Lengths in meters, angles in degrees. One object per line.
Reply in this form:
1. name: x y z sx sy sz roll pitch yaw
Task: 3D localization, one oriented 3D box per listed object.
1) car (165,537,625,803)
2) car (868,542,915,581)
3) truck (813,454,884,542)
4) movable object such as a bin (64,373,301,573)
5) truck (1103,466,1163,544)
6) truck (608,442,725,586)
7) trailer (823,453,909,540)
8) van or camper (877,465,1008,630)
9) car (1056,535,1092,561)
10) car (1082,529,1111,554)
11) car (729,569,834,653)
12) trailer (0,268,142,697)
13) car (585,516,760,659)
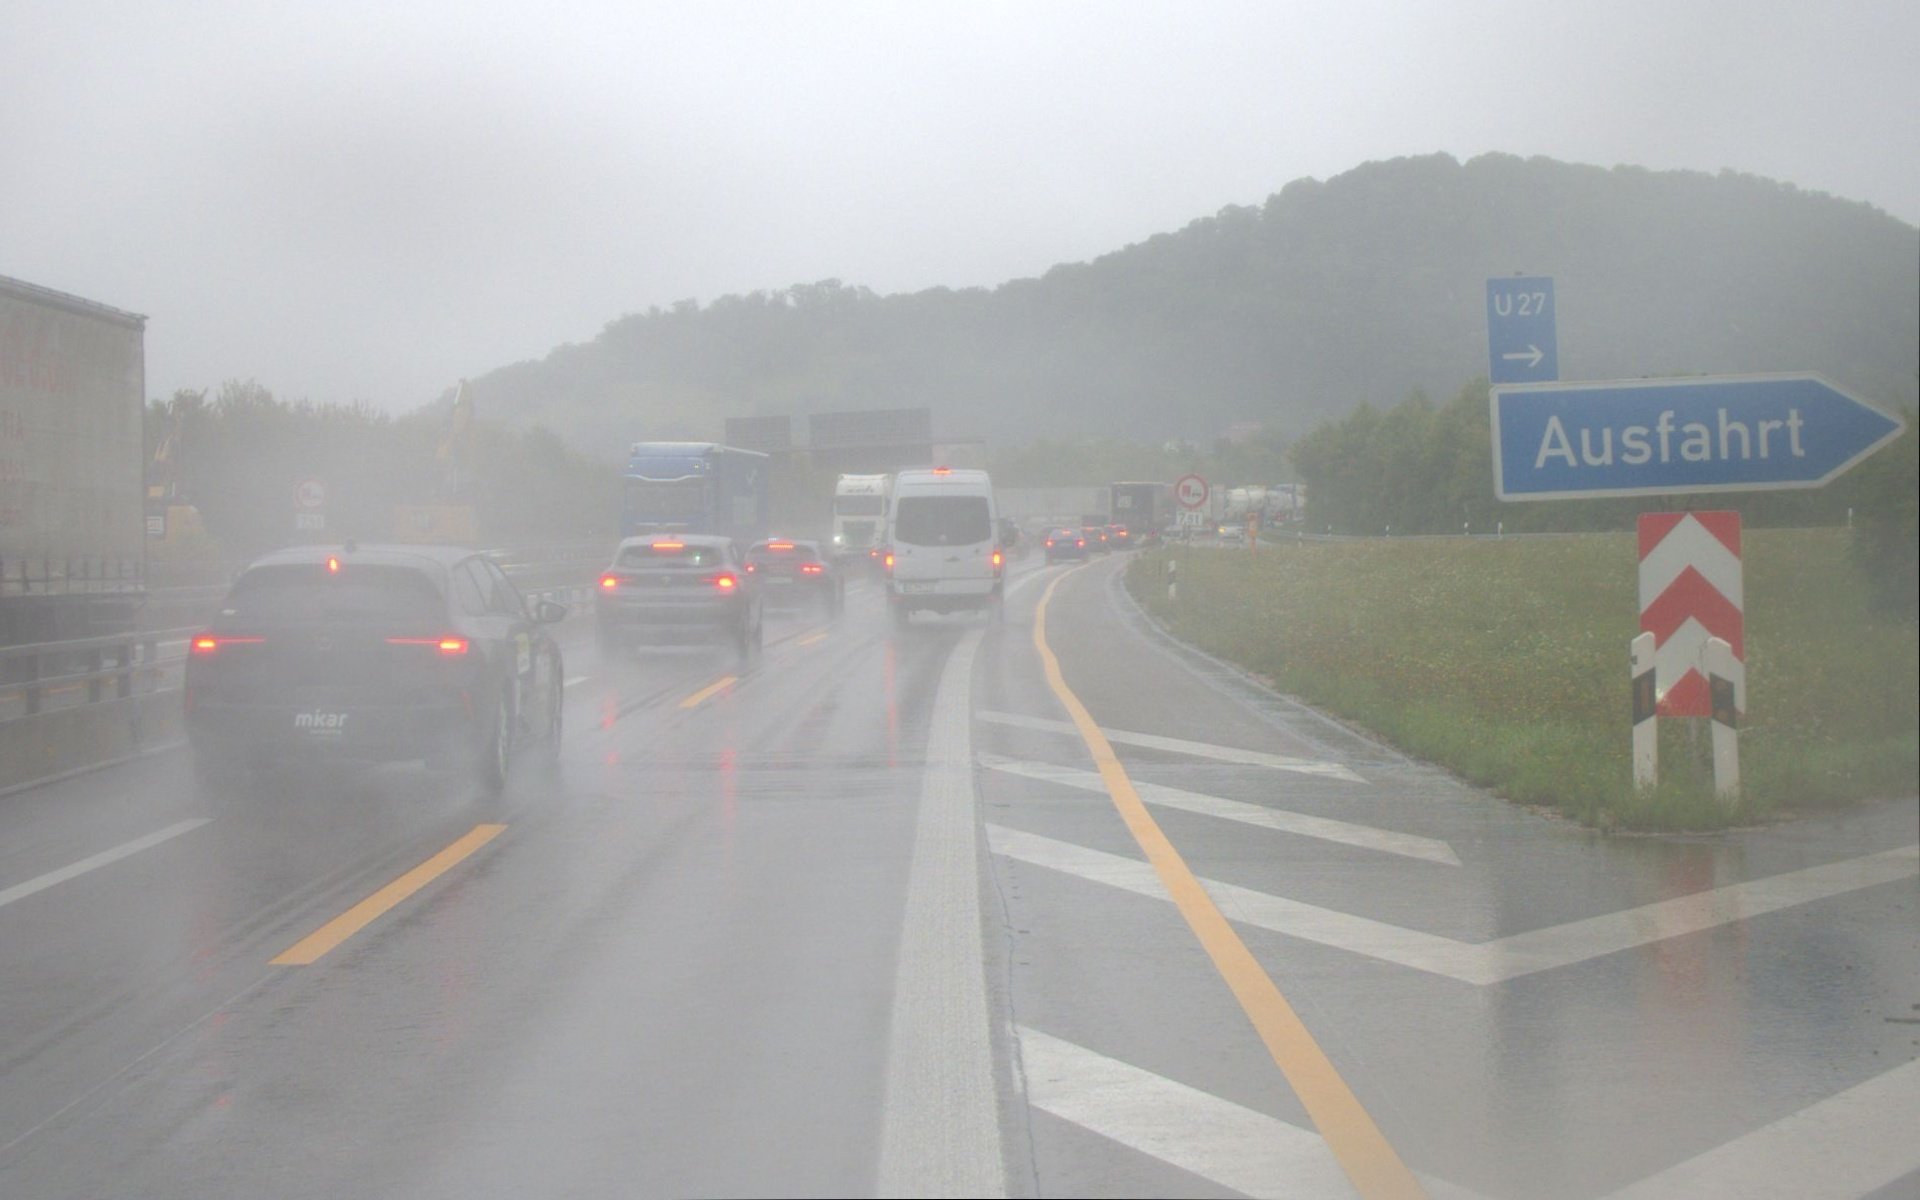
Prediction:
1. car: -3.284 0.334 20.941 1.939 1.422 4.760 0 1 1
2. car: -1.938 -1.105 97.941 1.262 1.074 3.255 0 1 0
3. truck: -5.157 -4.778 160.157 2.484 4.017 6.447 0 2 6
4. movable object such as a bin: -24.197 -3.854 107.828 4.171 5.894 11.044 1 1 4
5. truck: 11.009 -5.955 217.886 3.321 4.768 9.905 1 1 5
6. truck: -8.535 -2.522 100.662 2.624 4.067 6.669 0 1 2
7. trailer: -4.488 -5.059 166.882 2.494 4.035 12.585 -1 2 6
8. van or camper: -0.331 -0.915 59.040 2.139 2.712 4.648 0 1 -1
9. car: 4.855 -2.220 146.647 1.384 1.074 3.123 0 1 -1
10. car: 6.879 -2.939 173.379 1.384 1.252 3.122 0 1 2
11. car: -3.354 0.188 65.287 1.852 1.495 4.000 0 1 -1
12. trailer: -10.257 -1.098 31.338 2.612 3.993 11.928 1 1 0
13. car: -3.457 -0.184 42.009 1.867 1.653 3.988 0 1 -1
